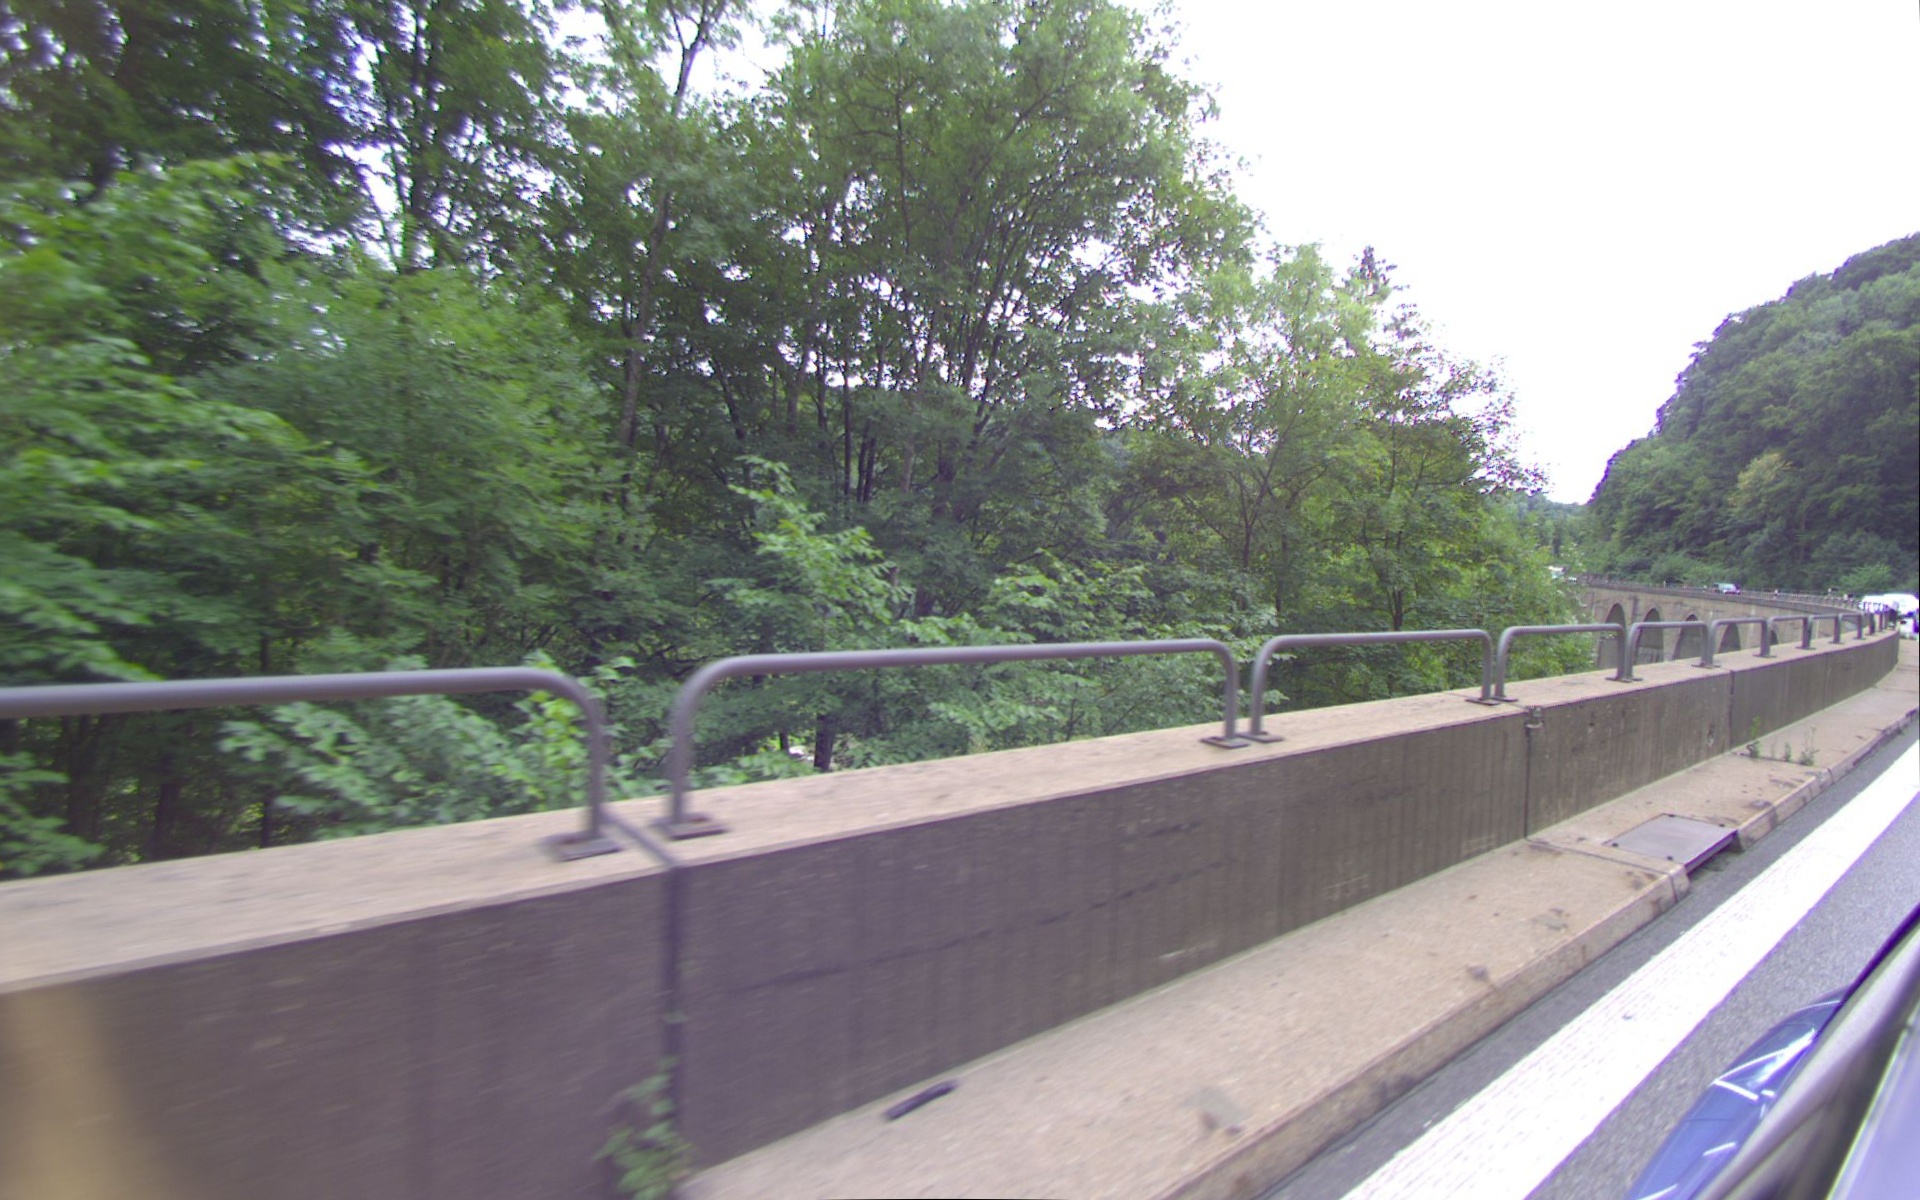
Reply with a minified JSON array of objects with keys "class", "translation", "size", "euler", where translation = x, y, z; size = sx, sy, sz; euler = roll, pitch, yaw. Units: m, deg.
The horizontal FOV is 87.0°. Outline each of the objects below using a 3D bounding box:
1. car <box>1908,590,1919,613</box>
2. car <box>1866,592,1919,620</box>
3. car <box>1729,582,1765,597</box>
[{"class":"car","translation":[58.936,0.120,60.965],"size":[1.874,1.335,3.957],"euler":[1,2,31]},{"class":"car","translation":[49.422,0.288,53.509],"size":[1.878,1.335,3.947],"euler":[1,2,37]},{"class":"car","translation":[76.922,-1.023,98.981],"size":[1.868,1.335,3.969],"euler":[1,2,24]}]
